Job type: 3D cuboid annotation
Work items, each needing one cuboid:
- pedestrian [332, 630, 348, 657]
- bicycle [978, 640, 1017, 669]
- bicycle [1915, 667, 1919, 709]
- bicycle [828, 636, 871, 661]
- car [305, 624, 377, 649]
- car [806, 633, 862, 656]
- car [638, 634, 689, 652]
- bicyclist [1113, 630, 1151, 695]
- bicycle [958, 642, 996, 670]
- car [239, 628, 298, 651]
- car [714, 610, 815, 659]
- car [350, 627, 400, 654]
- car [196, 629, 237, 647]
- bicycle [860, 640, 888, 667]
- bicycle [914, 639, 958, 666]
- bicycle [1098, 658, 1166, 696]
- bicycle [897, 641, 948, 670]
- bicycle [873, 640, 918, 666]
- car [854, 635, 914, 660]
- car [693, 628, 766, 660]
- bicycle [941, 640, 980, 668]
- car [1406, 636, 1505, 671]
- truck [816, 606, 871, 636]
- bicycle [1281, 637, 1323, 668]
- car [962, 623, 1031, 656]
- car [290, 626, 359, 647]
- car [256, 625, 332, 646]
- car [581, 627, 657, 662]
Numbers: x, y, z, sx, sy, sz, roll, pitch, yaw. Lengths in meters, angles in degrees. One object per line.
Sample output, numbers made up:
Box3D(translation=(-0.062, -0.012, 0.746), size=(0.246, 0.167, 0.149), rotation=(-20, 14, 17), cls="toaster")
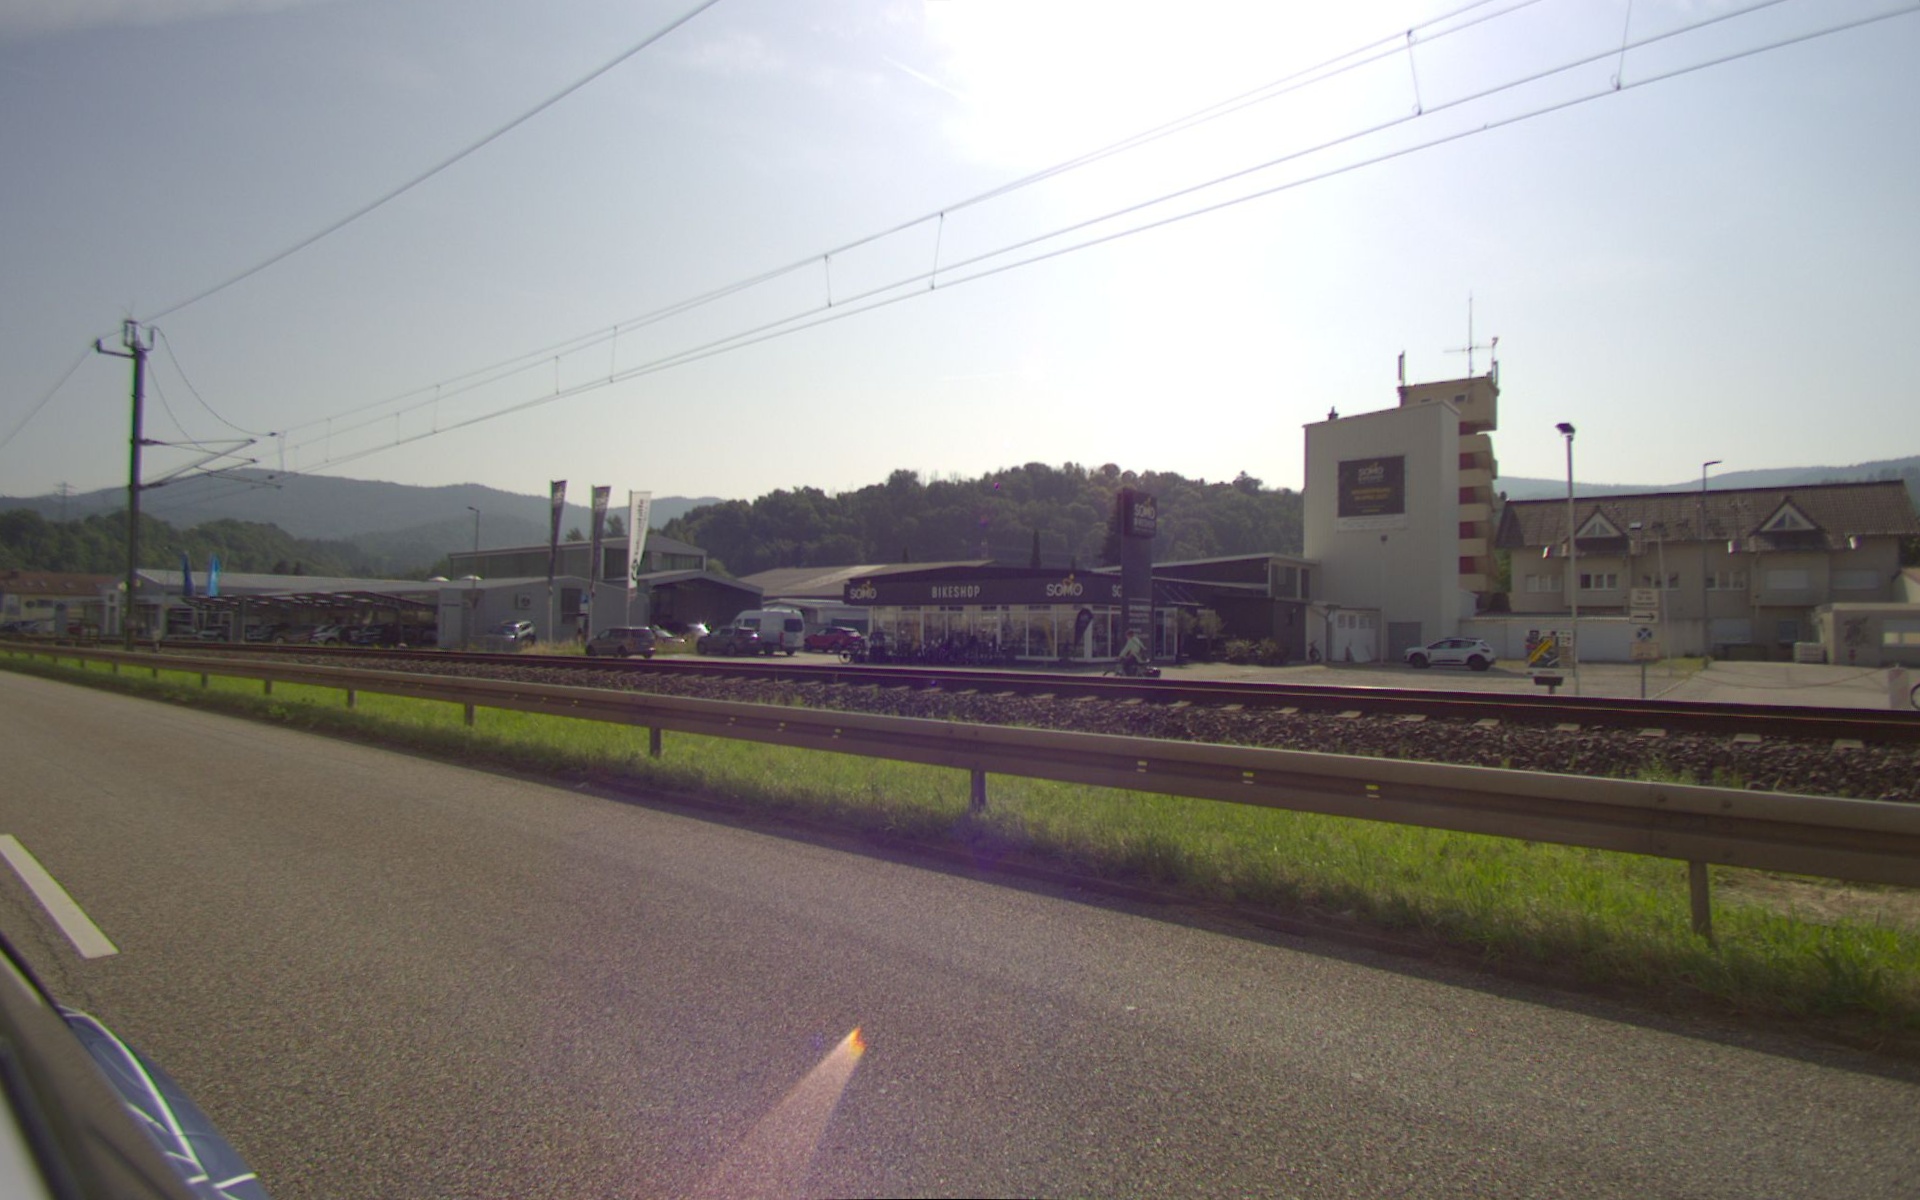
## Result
Box3D(translation=(-39.908, 2.787, 65.126), size=(0.821, 1.747, 0.807), rotation=(2, -3, -29), cls="pedestrian")
Box3D(translation=(1.539, 2.212, 41.329), size=(0.727, 1.139, 2.153), rotation=(0, -2, 28), cls="bicycle")
Box3D(translation=(24.978, 2.204, 25.018), size=(1.962, 1.025, 0.747), rotation=(-1, -3, 42), cls="bicycle")
Box3D(translation=(-5.165, 2.249, 47.479), size=(0.729, 1.139, 2.146), rotation=(-1, -2, 38), cls="bicycle")
Box3D(translation=(-43.281, 2.526, 70.799), size=(1.659, 1.539, 3.922), rotation=(-1, 1, 35), cls="car")
Box3D(translation=(-8.000, 2.813, 64.037), size=(3.517, 1.368, 1.499), rotation=(-1, -2, 39), cls="car")
Box3D(translation=(-21.037, 3.056, 71.772), size=(3.474, 1.278, 1.442), rotation=(-1, -2, 31), cls="car")
Box3D(translation=(4.464, 1.604, 26.292), size=(0.830, 1.659, 0.527), rotation=(-1, -3, 37), cls="bicyclist")
Box3D(translation=(0.746, 2.394, 43.206), size=(0.727, 1.139, 2.153), rotation=(0, -2, 28), cls="bicycle")
Box3D(translation=(-53.977, 3.078, 79.110), size=(1.820, 1.539, 4.275), rotation=(-1, 1, -3), cls="car")
Box3D(translation=(-11.741, 2.032, 60.509), size=(6.149, 2.653, 2.351), rotation=(1, -1, 36), cls="car")
Box3D(translation=(-39.322, 2.700, 68.087), size=(1.636, 1.634, 4.040), rotation=(-1, 1, -10), cls="car")
Box3D(translation=(-62.678, 3.185, 85.403), size=(1.815, 1.396, 4.538), rotation=(1, -2, -23), cls="car")
Box3D(translation=(-3.818, 2.361, 44.751), size=(0.717, 1.139, 2.329), rotation=(1, -2, -17), cls="bicycle")
Box3D(translation=(-1.027, 2.287, 44.377), size=(0.729, 1.139, 2.146), rotation=(-1, -2, 38), cls="bicycle")
Box3D(translation=(4.452, 1.984, 26.277), size=(1.707, 0.930, 0.540), rotation=(-1, -3, 37), cls="bicycle")
Box3D(translation=(-1.592, 2.325, 42.766), size=(2.171, 1.139, 0.721), rotation=(-1, -2, 37), cls="bicycle")
Box3D(translation=(-2.944, 2.416, 46.313), size=(2.173, 1.139, 0.720), rotation=(-1, -2, 41), cls="bicycle")
Box3D(translation=(-5.129, 3.203, 68.333), size=(4.066, 1.553, 1.562), rotation=(-1, -2, 39), cls="car")
Box3D(translation=(-13.108, 2.470, 57.571), size=(3.992, 1.676, 1.851), rotation=(1, -1, 36), cls="car")
Box3D(translation=(0.023, 2.314, 43.521), size=(0.727, 1.139, 2.153), rotation=(0, -2, 28), cls="bicycle")
Box3D(translation=(23.909, 2.568, 48.881), size=(3.979, 1.610, 1.693), rotation=(-1, -3, 41), cls="car")
Box3D(translation=(-10.173, 1.809, 88.106), size=(4.632, 2.443, 1.976), rotation=(1, -2, 35), cls="truck")
Box3D(translation=(16.211, 2.461, 47.913), size=(0.987, 1.298, 3.405), rotation=(0, -1, 34), cls="bicycle")
Box3D(translation=(2.614, 2.822, 73.043), size=(4.759, 2.228, 1.974), rotation=(-1, -2, 39), cls="car")
Box3D(translation=(-45.341, 2.593, 72.289), size=(1.499, 1.335, 3.922), rotation=(-1, 1, 35), cls="car")
Box3D(translation=(-49.397, 2.600, 75.125), size=(4.372, 1.517, 1.847), rotation=(0, -2, 0), cls="car")
Box3D(translation=(-17.618, 2.271, 52.219), size=(4.361, 1.701, 1.505), rotation=(-1, 0, 36), cls="car")
